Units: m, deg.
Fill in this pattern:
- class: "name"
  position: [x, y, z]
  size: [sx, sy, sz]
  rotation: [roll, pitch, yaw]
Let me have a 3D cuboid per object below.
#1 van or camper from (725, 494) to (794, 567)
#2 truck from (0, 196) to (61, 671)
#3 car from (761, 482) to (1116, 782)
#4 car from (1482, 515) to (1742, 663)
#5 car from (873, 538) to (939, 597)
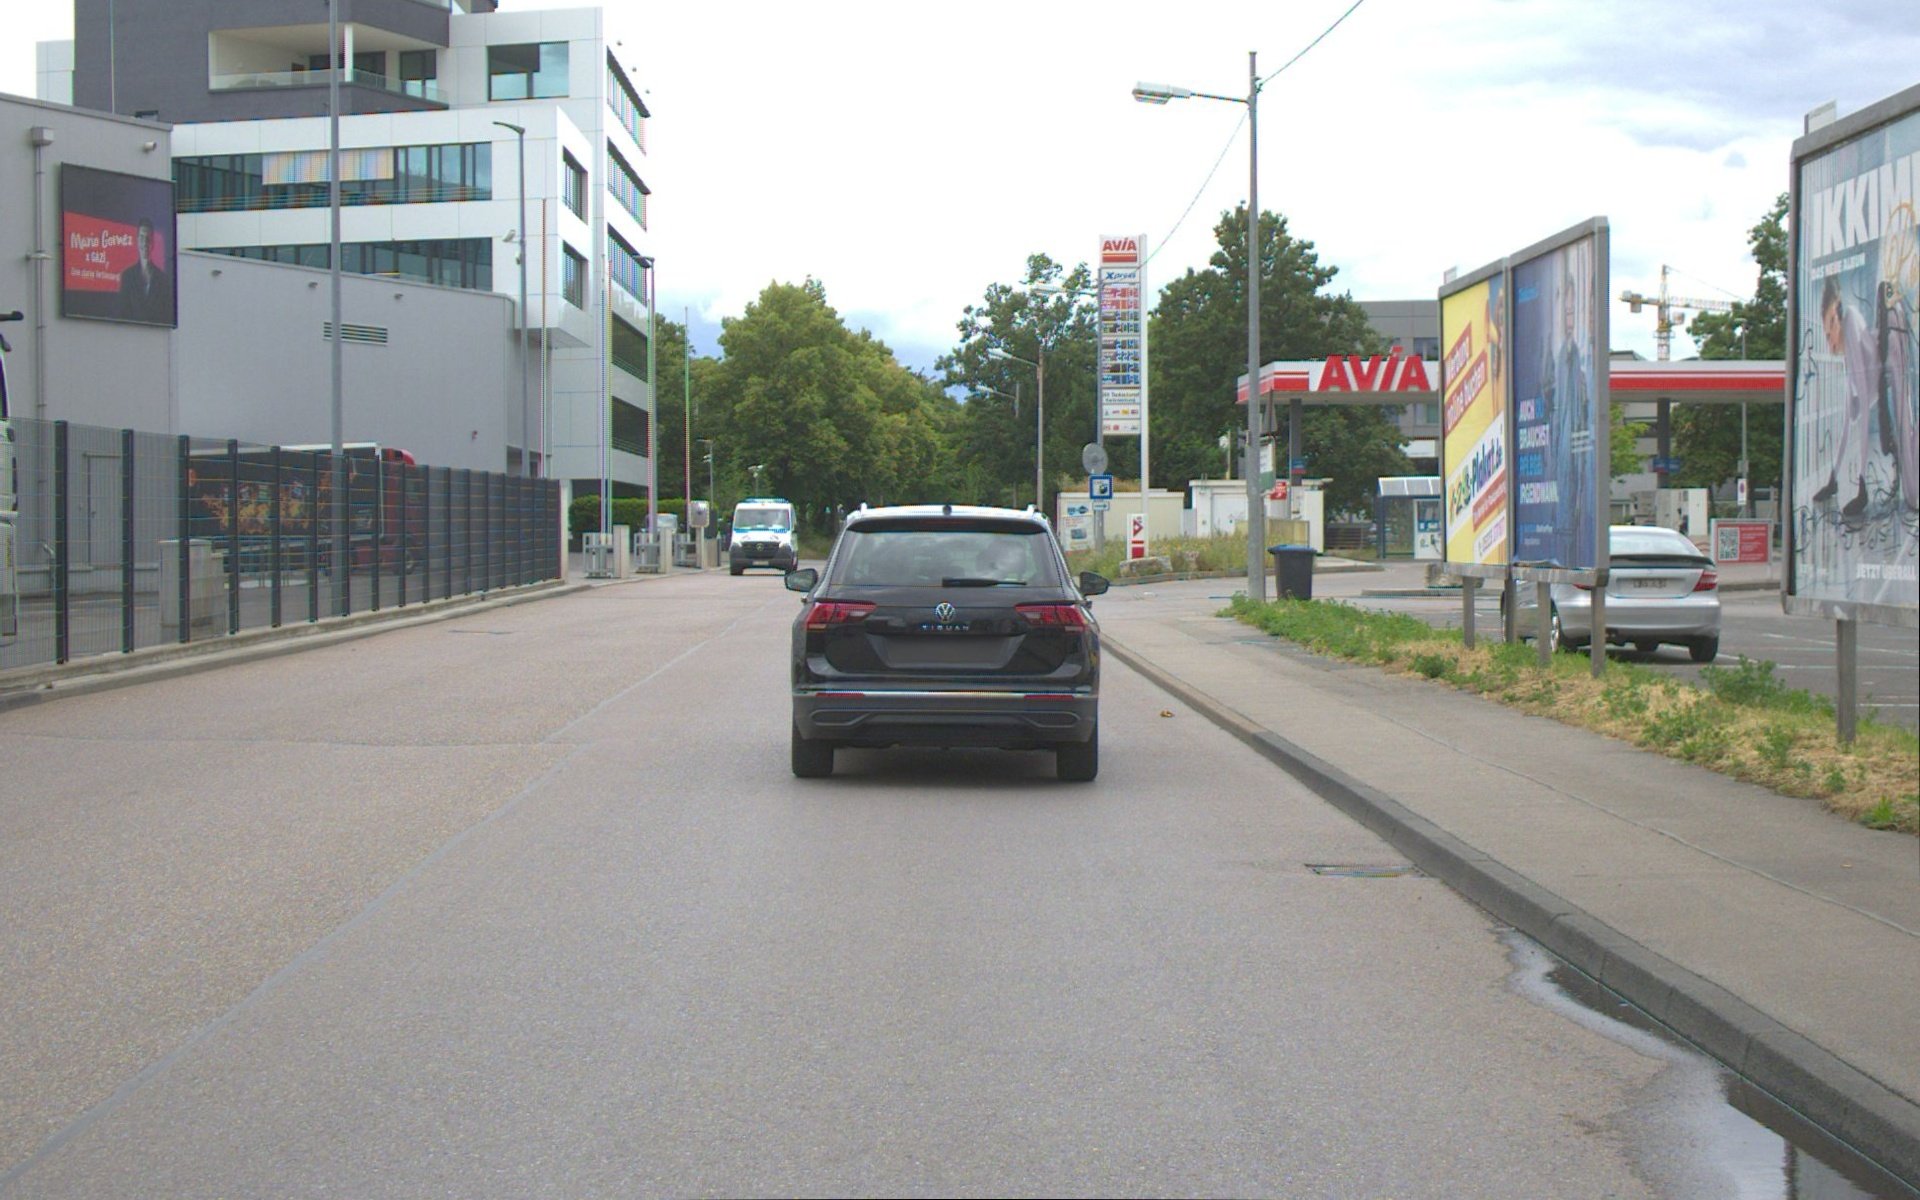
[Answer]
- class: "van or camper"
  position: [-6.308, -2.190, 108.710]
  size: [1.993, 2.248, 4.000]
  rotation: [0, 1, -1]
- class: "truck"
  position: [-9.857, -1.316, 27.263]
  size: [3.128, 4.103, 6.941]
  rotation: [-4, 1, 2]
- class: "car"
  position: [-0.147, 0.157, 21.452]
  size: [1.993, 1.678, 4.371]
  rotation: [0, 1, -1]
- class: "car"
  position: [6.921, -0.139, 36.923]
  size: [1.889, 1.440, 4.429]
  rotation: [2, 1, 0]
- class: "car"
  position: [-1.673, -1.005, 105.078]
  size: [1.993, 1.678, 4.372]
  rotation: [0, 2, -1]
